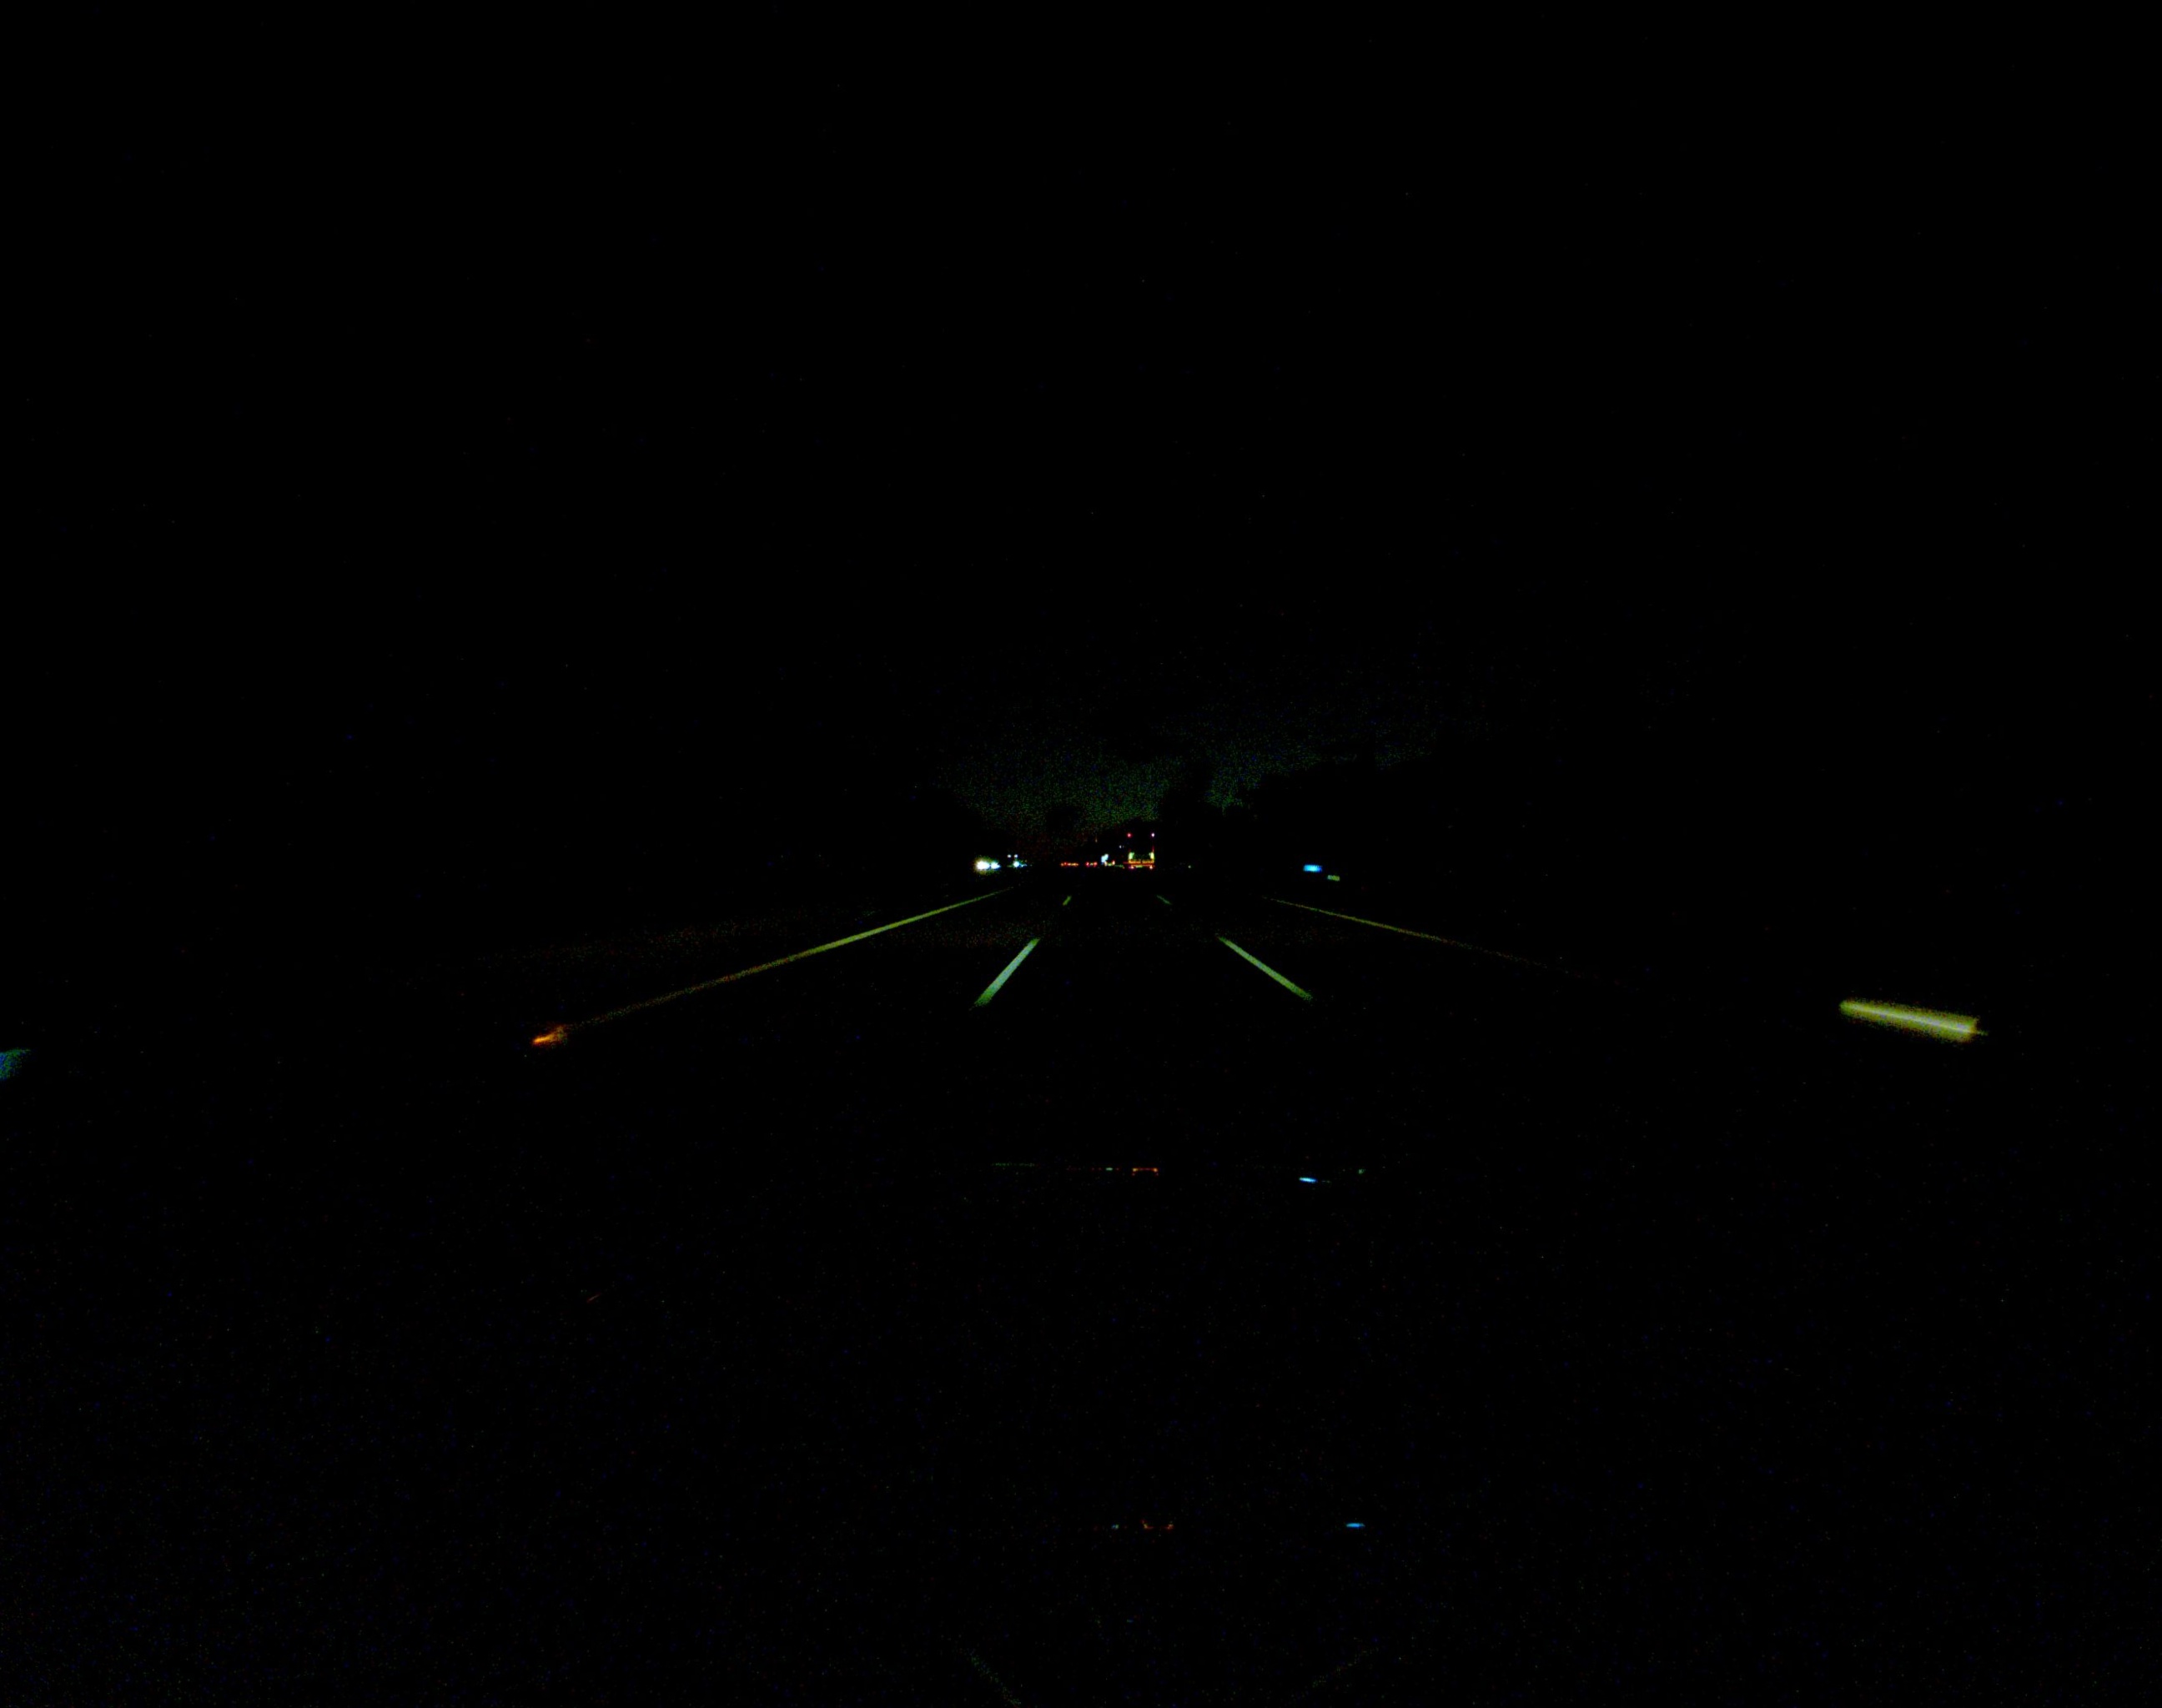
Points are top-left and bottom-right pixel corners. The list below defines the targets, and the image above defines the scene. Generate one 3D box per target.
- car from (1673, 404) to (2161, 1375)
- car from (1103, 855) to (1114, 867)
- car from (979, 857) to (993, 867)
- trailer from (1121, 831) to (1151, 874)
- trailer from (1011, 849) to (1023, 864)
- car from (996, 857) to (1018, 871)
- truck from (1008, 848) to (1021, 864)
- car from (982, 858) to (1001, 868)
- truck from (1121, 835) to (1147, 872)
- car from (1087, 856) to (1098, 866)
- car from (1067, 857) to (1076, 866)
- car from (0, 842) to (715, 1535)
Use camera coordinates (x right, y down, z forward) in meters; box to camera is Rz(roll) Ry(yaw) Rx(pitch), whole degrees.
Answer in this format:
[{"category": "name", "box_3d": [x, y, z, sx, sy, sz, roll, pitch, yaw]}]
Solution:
[{"category": "car", "box_3d": [3.907, 0.089, 1.271, 2.024, 2.647, 5.729, -1, 0, 3]}, {"category": "car", "box_3d": [5.437, 1.409, 162.670, 1.987, 2.117, 3.998, 0, -2, -1]}, {"category": "car", "box_3d": [-16.964, 1.429, 145.549, 1.907, 1.747, 4.881, 0, 0, 1]}, {"category": "trailer", "box_3d": [5.901, -0.076, 89.714, 2.818, 4.256, 17.058, 0, -1, 2]}, {"category": "trailer", "box_3d": [-17.934, 0.688, 228.801, 2.851, 4.072, 8.868, 0, -1, -1]}, {"category": "car", "box_3d": [-9.315, 1.237, 103.056, 2.236, 1.719, 4.888, 0, 0, 1]}, {"category": "truck", "box_3d": [-17.856, 0.601, 219.063, 2.851, 4.072, 10.631, 0, -1, 0]}, {"category": "car", "box_3d": [-13.625, 1.364, 124.240, 2.237, 1.598, 4.886, 0, 0, -1]}, {"category": "truck", "box_3d": [6.128, -0.025, 95.018, 2.818, 4.257, 6.266, 0, -1, 2]}, {"category": "car", "box_3d": [2.142, 1.253, 149.479, 1.986, 1.794, 4.000, 0, -2, 1]}, {"category": "car", "box_3d": [-2.093, 1.668, 181.177, 1.987, 1.794, 3.998, 0, -2, -1]}, {"category": "car", "box_3d": [-3.351, 0.731, 2.155, 1.985, 1.518, 5.655, 0, 1, 3]}]
